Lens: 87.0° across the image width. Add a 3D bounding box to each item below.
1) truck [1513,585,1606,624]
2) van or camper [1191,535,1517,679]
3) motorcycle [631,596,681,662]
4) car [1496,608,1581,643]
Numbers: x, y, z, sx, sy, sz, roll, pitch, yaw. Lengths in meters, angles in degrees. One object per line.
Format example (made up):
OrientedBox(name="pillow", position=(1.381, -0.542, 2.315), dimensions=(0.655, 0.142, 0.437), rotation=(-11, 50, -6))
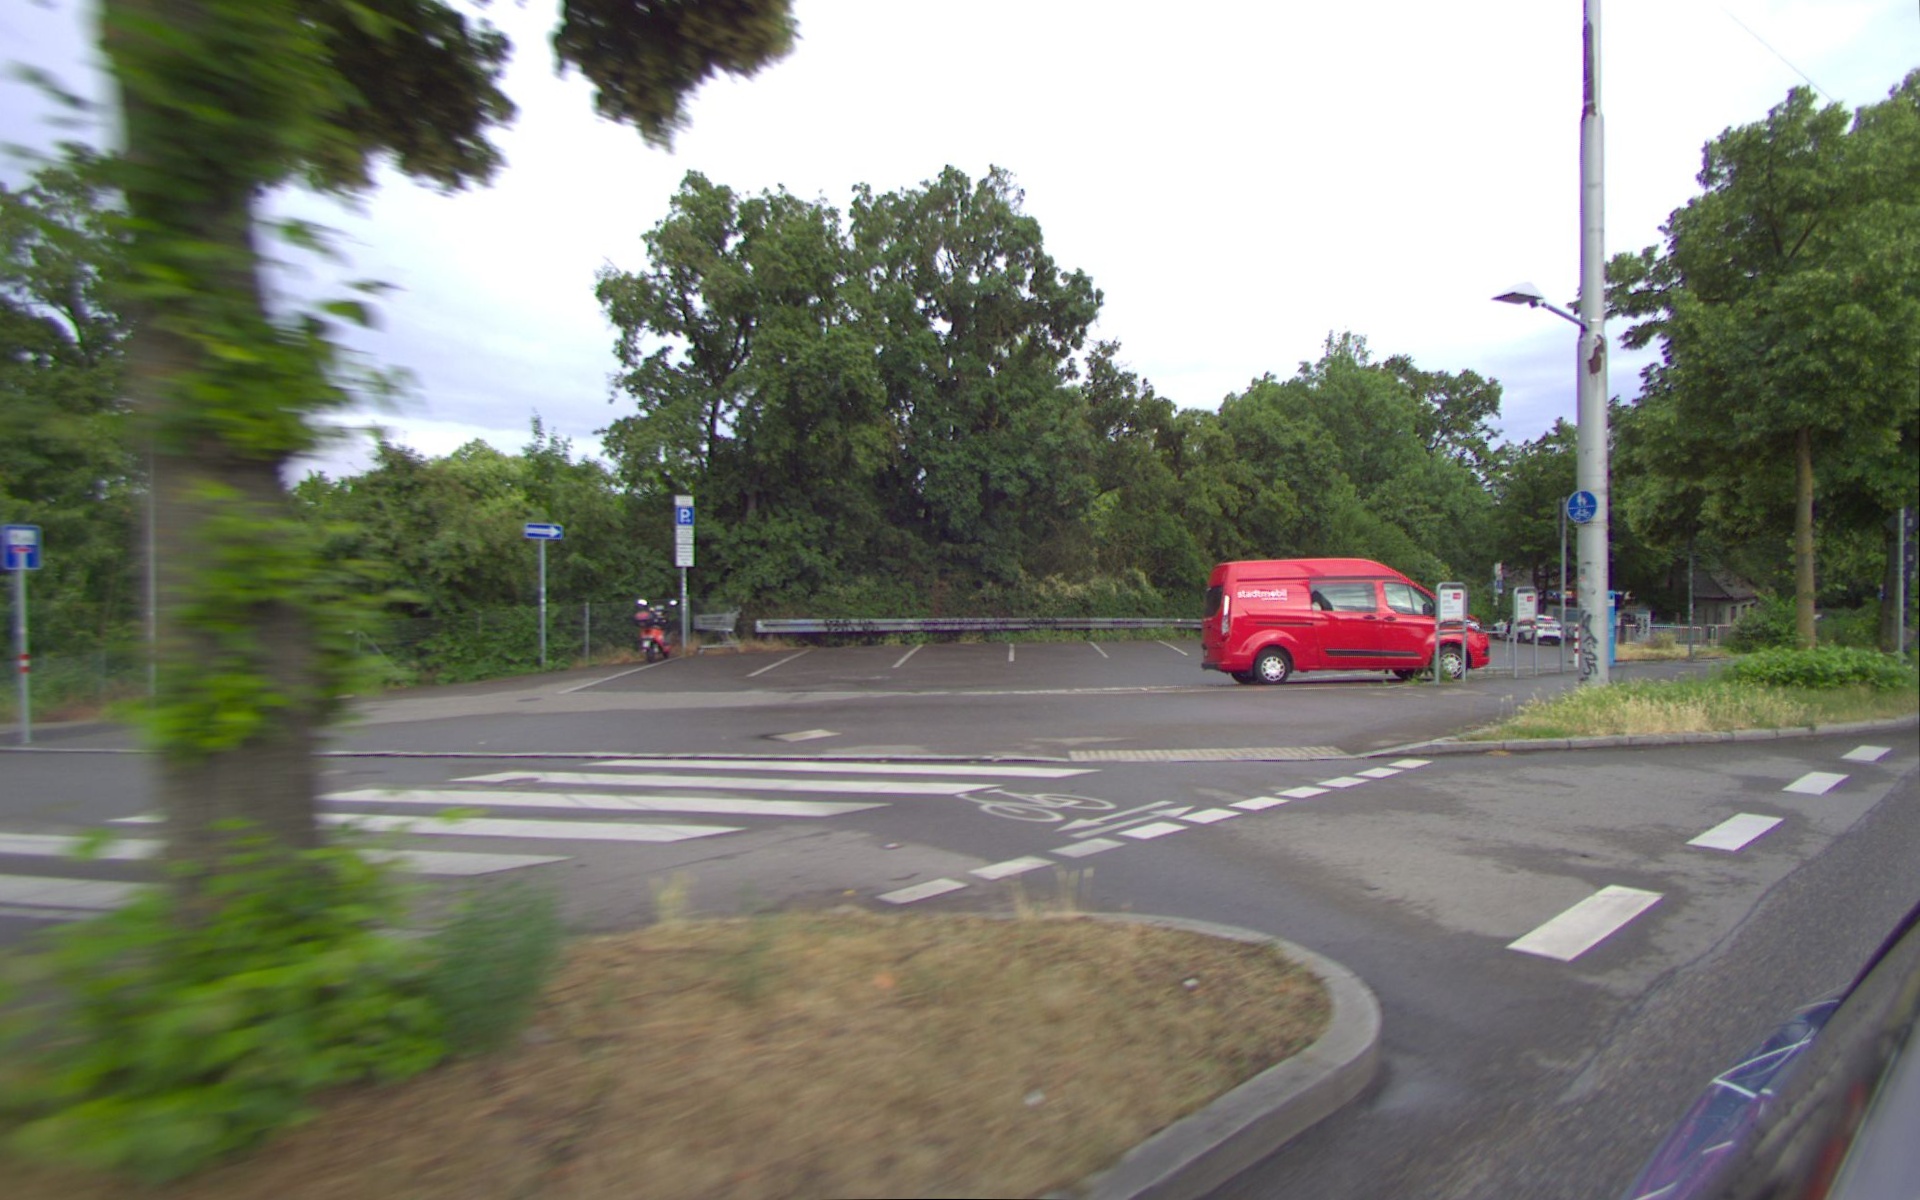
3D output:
OrientedBox(name="truck", position=(46.488, 0.344, 78.509), dimensions=(6.467, 2.904, 2.064), rotation=(1, 0, -13))
OrientedBox(name="van or camper", position=(7.343, 0.184, 19.343), dimensions=(5.292, 2.438, 2.039), rotation=(-2, -3, 2))
OrientedBox(name="motorcycle", position=(-6.478, 0.586, 21.623), dimensions=(0.464, 1.228, 2.027), rotation=(-4, 3, -3))
OrientedBox(name="car", position=(28.749, 1.233, 50.489), dimensions=(1.966, 1.599, 4.642), rotation=(1, 0, 7))
